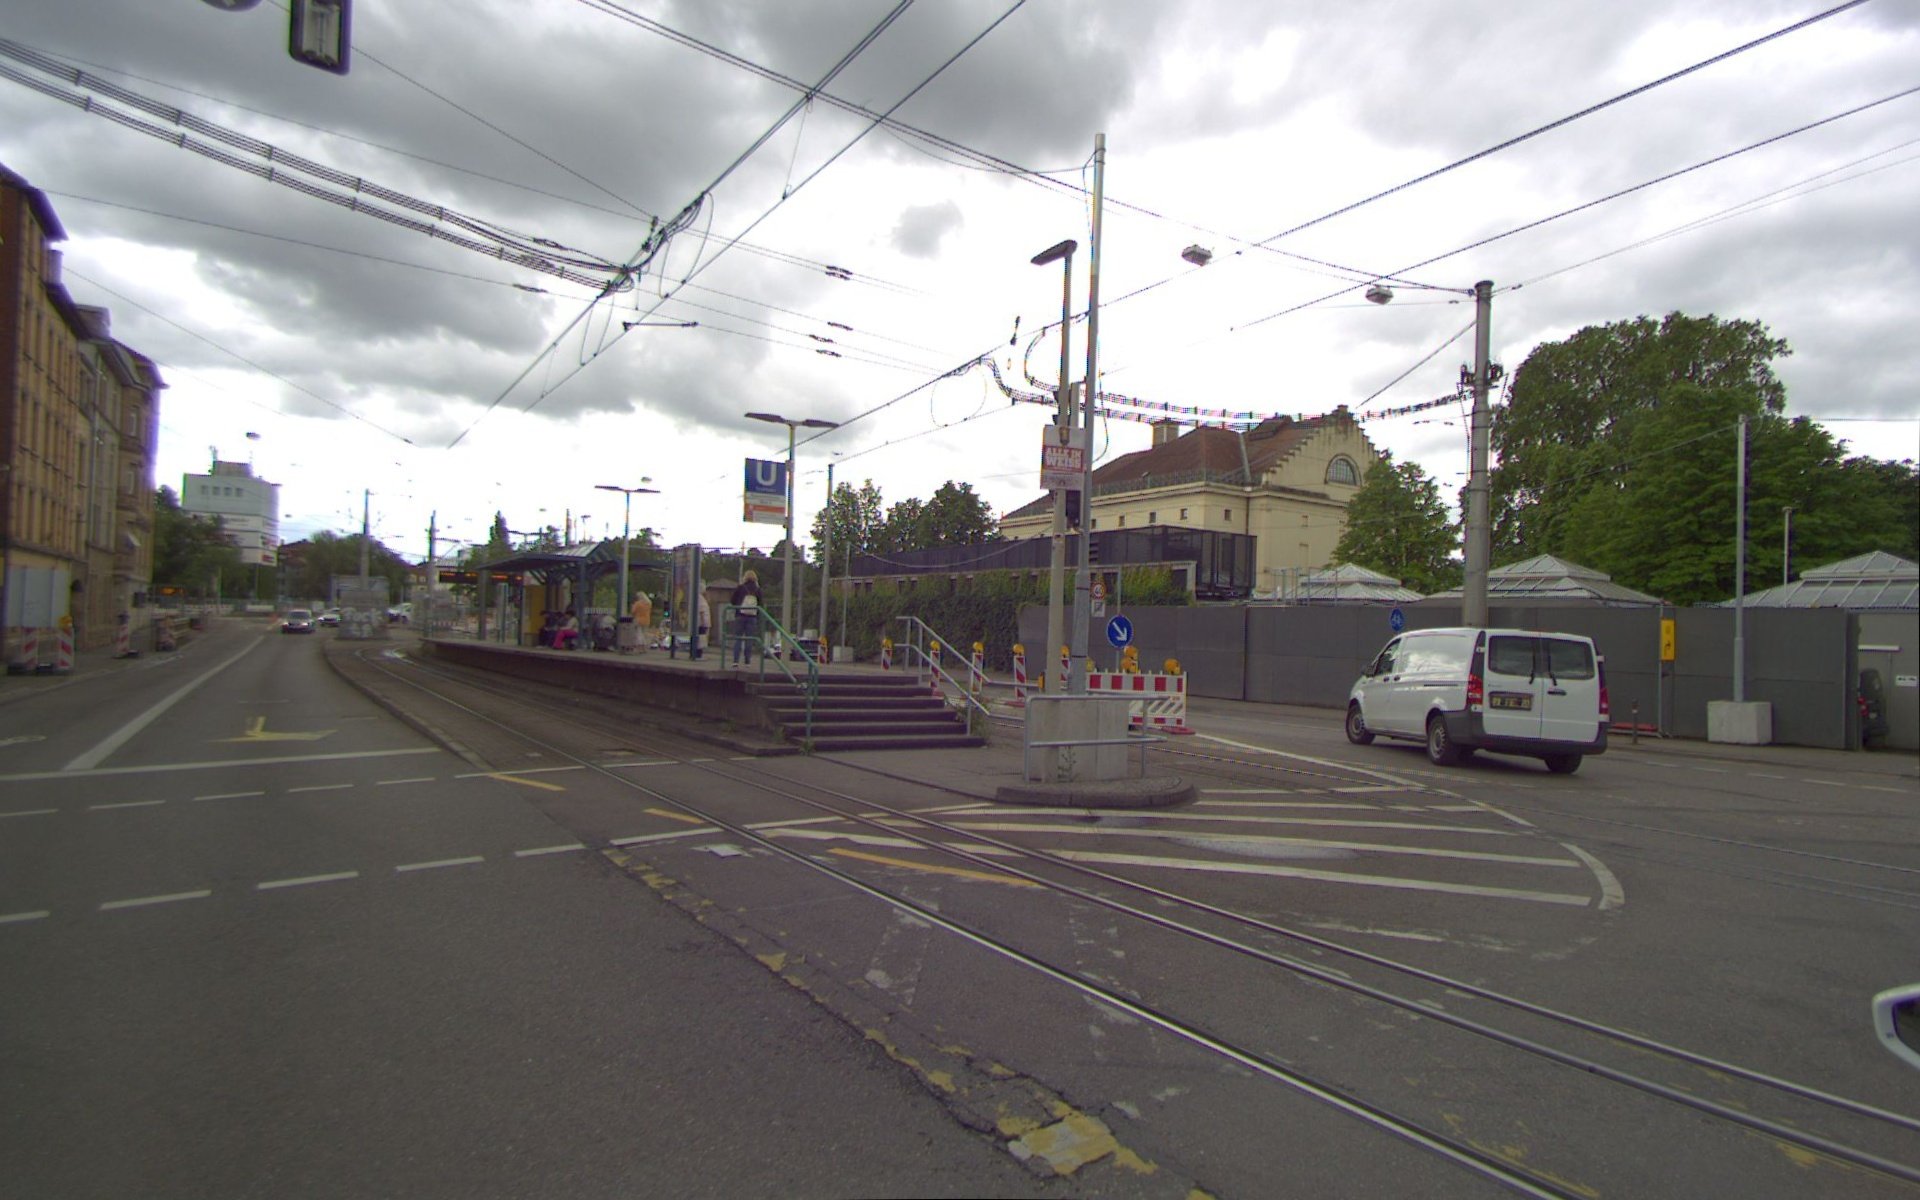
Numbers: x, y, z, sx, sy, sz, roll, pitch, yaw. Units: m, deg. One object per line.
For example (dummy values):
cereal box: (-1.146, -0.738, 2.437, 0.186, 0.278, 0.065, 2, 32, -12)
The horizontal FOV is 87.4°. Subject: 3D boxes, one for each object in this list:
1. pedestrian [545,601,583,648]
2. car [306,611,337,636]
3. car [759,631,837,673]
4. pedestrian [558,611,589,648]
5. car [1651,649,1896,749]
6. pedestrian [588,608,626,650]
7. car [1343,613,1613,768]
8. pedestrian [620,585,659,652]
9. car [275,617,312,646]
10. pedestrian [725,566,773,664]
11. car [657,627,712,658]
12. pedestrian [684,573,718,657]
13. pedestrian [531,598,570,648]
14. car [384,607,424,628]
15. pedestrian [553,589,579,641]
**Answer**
pedestrian: (-11.217, 0.683, 28.440, 0.801, 1.286, 0.766, 4, -2, -34)
car: (-52.325, 1.883, 82.309, 1.980, 1.684, 3.962, 4, 1, -34)
car: (-6.965, 2.191, 42.889, 1.740, 1.572, 3.962, 4, -3, -34)
pedestrian: (-10.712, 0.826, 27.810, 0.657, 0.992, 0.508, 4, -3, -35)
car: (20.537, 2.446, 25.547, 2.084, 2.111, 4.416, 4, -2, -34)
pedestrian: (-9.964, 0.818, 28.339, 0.813, 1.137, 0.645, 4, -2, -34)
car: (7.516, 1.328, 15.208, 1.885, 1.926, 4.706, 1, -4, 3)
pedestrian: (-8.389, 0.495, 26.285, 0.771, 1.698, 0.536, 4, -3, -36)
car: (-47.992, 2.266, 72.414, 1.978, 1.684, 3.965, 4, 1, -31)
pedestrian: (-3.606, 0.264, 17.150, 0.593, 1.630, 0.520, 4, -3, -35)
car: (-15.221, 2.335, 55.442, 1.739, 1.572, 3.963, 4, -3, -33)
pedestrian: (-5.415, 0.326, 20.977, 0.454, 1.721, 0.593, 3, -3, -35)
pedestrian: (-11.883, 0.673, 29.138, 0.813, 1.390, 0.927, 4, -2, -34)
car: (-52.373, 1.661, 94.700, 1.964, 1.684, 3.993, 4, 1, -9)
pedestrian: (-12.859, 0.499, 32.768, 0.472, 1.662, 0.597, 2, -1, 11)
